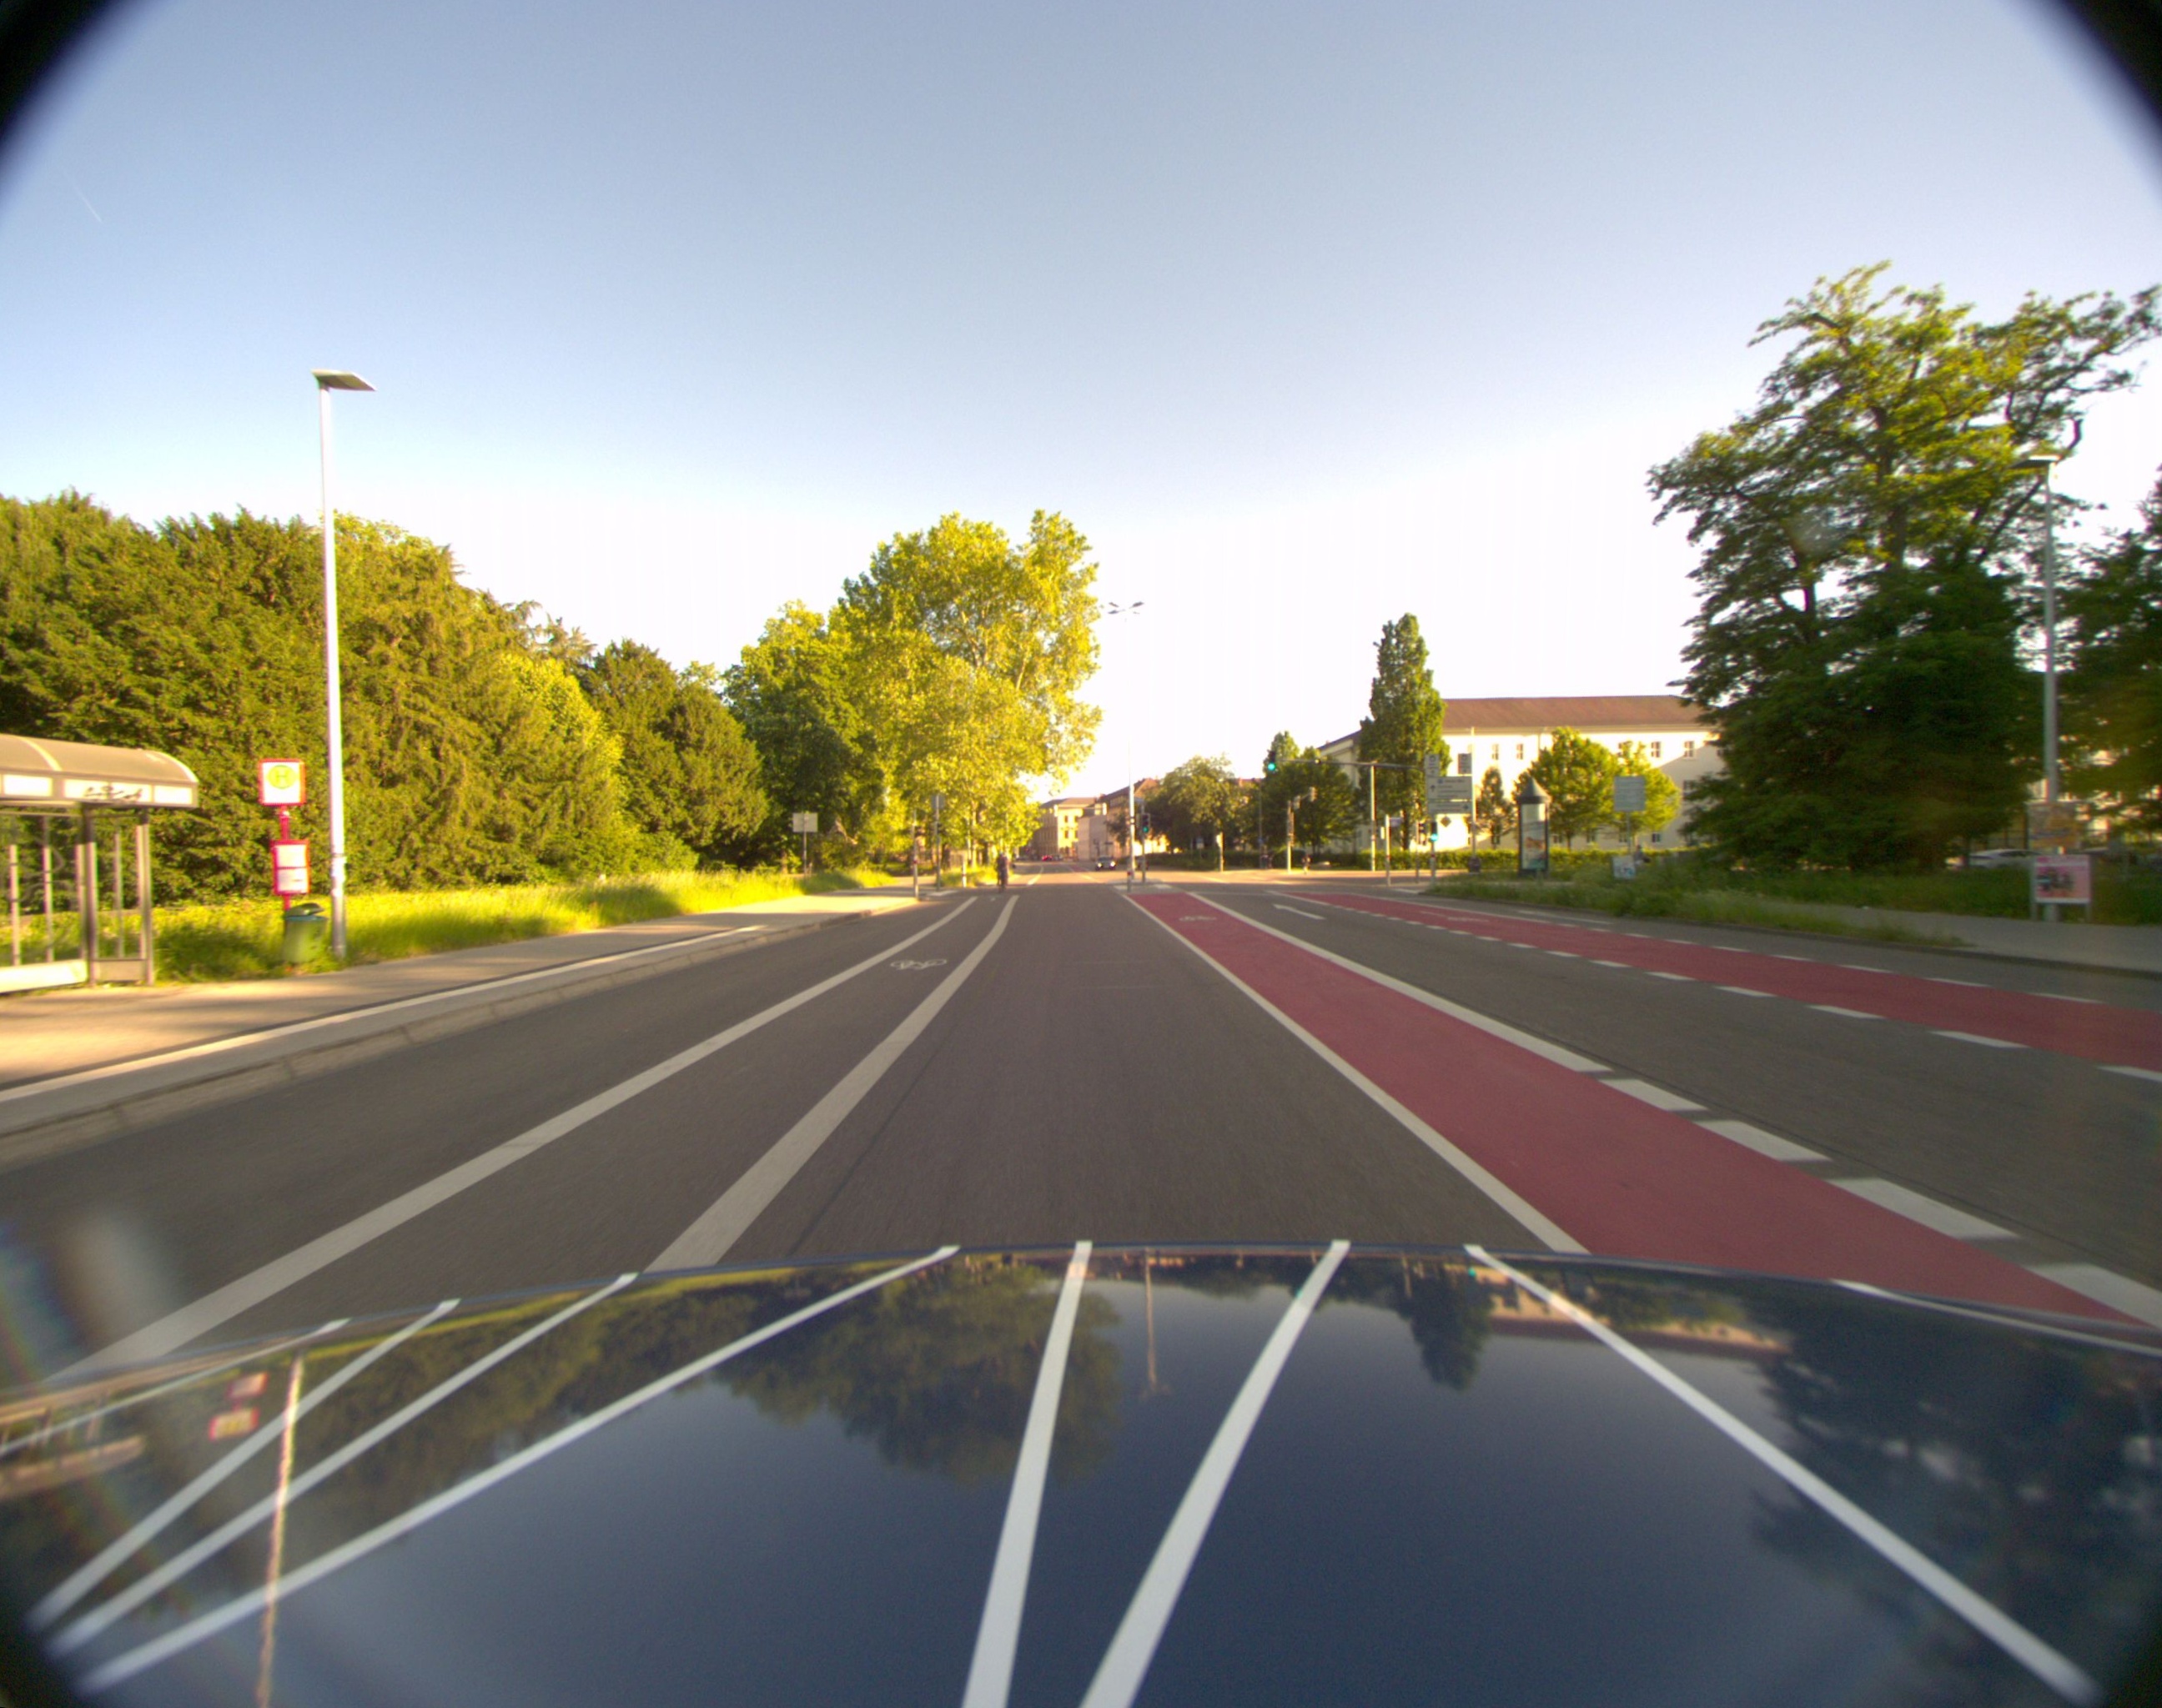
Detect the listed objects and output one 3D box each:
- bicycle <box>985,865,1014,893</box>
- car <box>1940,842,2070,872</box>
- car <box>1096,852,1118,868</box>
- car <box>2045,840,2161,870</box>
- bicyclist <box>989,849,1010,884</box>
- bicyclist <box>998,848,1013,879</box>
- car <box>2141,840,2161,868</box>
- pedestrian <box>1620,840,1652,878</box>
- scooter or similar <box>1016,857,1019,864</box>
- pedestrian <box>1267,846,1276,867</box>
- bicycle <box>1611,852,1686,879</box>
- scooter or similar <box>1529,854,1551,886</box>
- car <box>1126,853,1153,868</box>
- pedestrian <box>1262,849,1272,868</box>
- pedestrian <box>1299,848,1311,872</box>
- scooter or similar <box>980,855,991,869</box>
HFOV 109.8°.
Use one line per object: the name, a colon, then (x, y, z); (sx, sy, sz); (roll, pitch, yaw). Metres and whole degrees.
bicycle: (-3.452, 1.037, 32.417); (0.694, 1.089, 2.137); (-1, 0, 9)
car: (50.103, 0.170, 41.298); (4.253, 1.530, 2.070); (-1, 1, 6)
car: (2.434, 0.544, 72.591); (1.722, 1.409, 4.526); (-1, 0, -2)
car: (55.687, 0.058, 40.995); (4.253, 1.530, 2.238); (-1, 1, 6)
bicyclist: (-3.461, 0.518, 32.394); (0.694, 1.482, 0.801); (-1, 1, 9)
bicyclist: (-3.709, 0.478, 37.492); (0.695, 1.493, 0.892); (-1, 1, -5)
car: (60.810, -0.011, 40.813); (4.253, 1.530, 2.238); (-1, 1, 6)
pedestrian: (25.028, 0.227, 34.267); (0.979, 1.686, 0.643); (-1, 1, 3)
scooter or similar: (-10.589, 1.058, 126.852); (0.416, 1.035, 1.778); (-3, 1, -2)
pedestrian: (16.655, 0.243, 66.435); (0.691, 1.805, 0.681); (-1, 1, 7)
bicycle: (25.225, 0.505, 33.806); (2.576, 1.129, 0.980); (-1, 1, 3)
scooter or similar: (19.094, 0.642, 31.645); (0.694, 1.286, 1.499); (0, 1, 28)
car: (5.852, 0.625, 76.536); (1.716, 1.413, 4.550); (-1, 0, -9)
pedestrian: (15.921, 0.387, 65.108); (0.691, 1.672, 0.681); (-1, 1, 7)
pedestrian: (17.003, 0.485, 57.591); (0.744, 1.805, 0.727); (-1, 1, 7)
scooter or similar: (-8.981, 0.717, 71.621); (0.794, 1.248, 1.836); (3, 0, -2)
